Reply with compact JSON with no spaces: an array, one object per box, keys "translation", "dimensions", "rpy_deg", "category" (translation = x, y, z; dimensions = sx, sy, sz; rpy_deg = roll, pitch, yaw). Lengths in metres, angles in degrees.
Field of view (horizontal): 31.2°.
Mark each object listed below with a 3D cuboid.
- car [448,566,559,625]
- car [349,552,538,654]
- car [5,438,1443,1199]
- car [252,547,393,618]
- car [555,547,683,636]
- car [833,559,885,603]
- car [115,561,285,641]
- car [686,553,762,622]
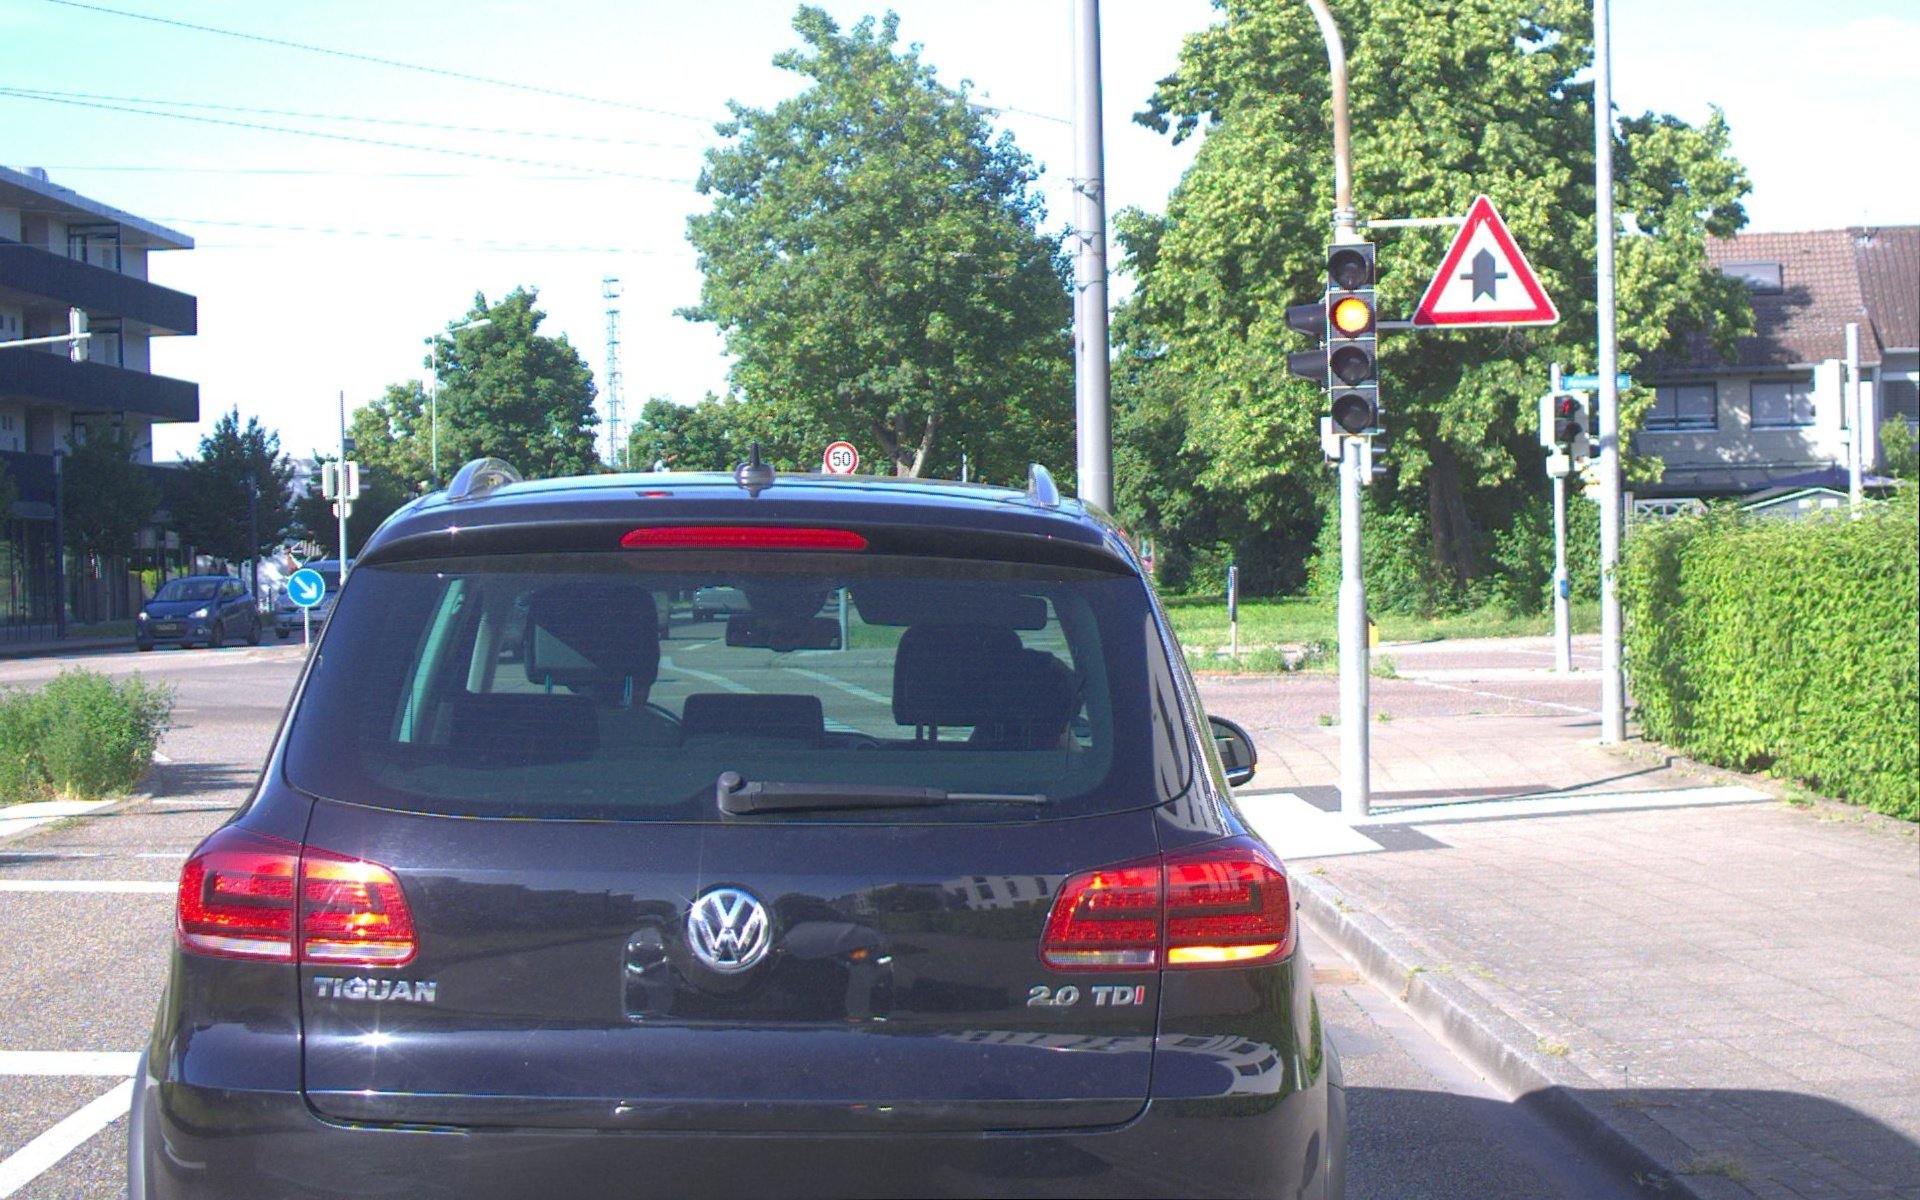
[{"translation":[-12.532,-0.138,94.615],"dimensions":[1.994,1.569,4.338],"rpy_deg":[1,1,7],"category":"car"},{"translation":[-8.035,0.019,53.867],"dimensions":[1.864,1.480,4.109],"rpy_deg":[-1,1,7],"category":"car"},{"translation":[-0.335,0.597,6.501],"dimensions":[1.869,1.632,4.000],"rpy_deg":[1,1,-1],"category":"car"},{"translation":[-14.767,-0.410,79.874],"dimensions":[1.994,1.569,4.338],"rpy_deg":[1,1,7],"category":"car"},{"translation":[-6.815,-0.196,69.036],"dimensions":[1.864,1.714,3.686],"rpy_deg":[-1,1,6],"category":"car"},{"translation":[-4.008,-0.753,136.296],"dimensions":[1.993,1.678,4.000],"rpy_deg":[1,1,-2],"category":"car"},{"translation":[-15.743,-0.001,71.431],"dimensions":[1.994,1.569,4.337],"rpy_deg":[1,1,9],"category":"car"},{"translation":[-6.443,-0.353,94.078],"dimensions":[1.993,1.830,4.001],"rpy_deg":[1,1,-3],"category":"car"}]
